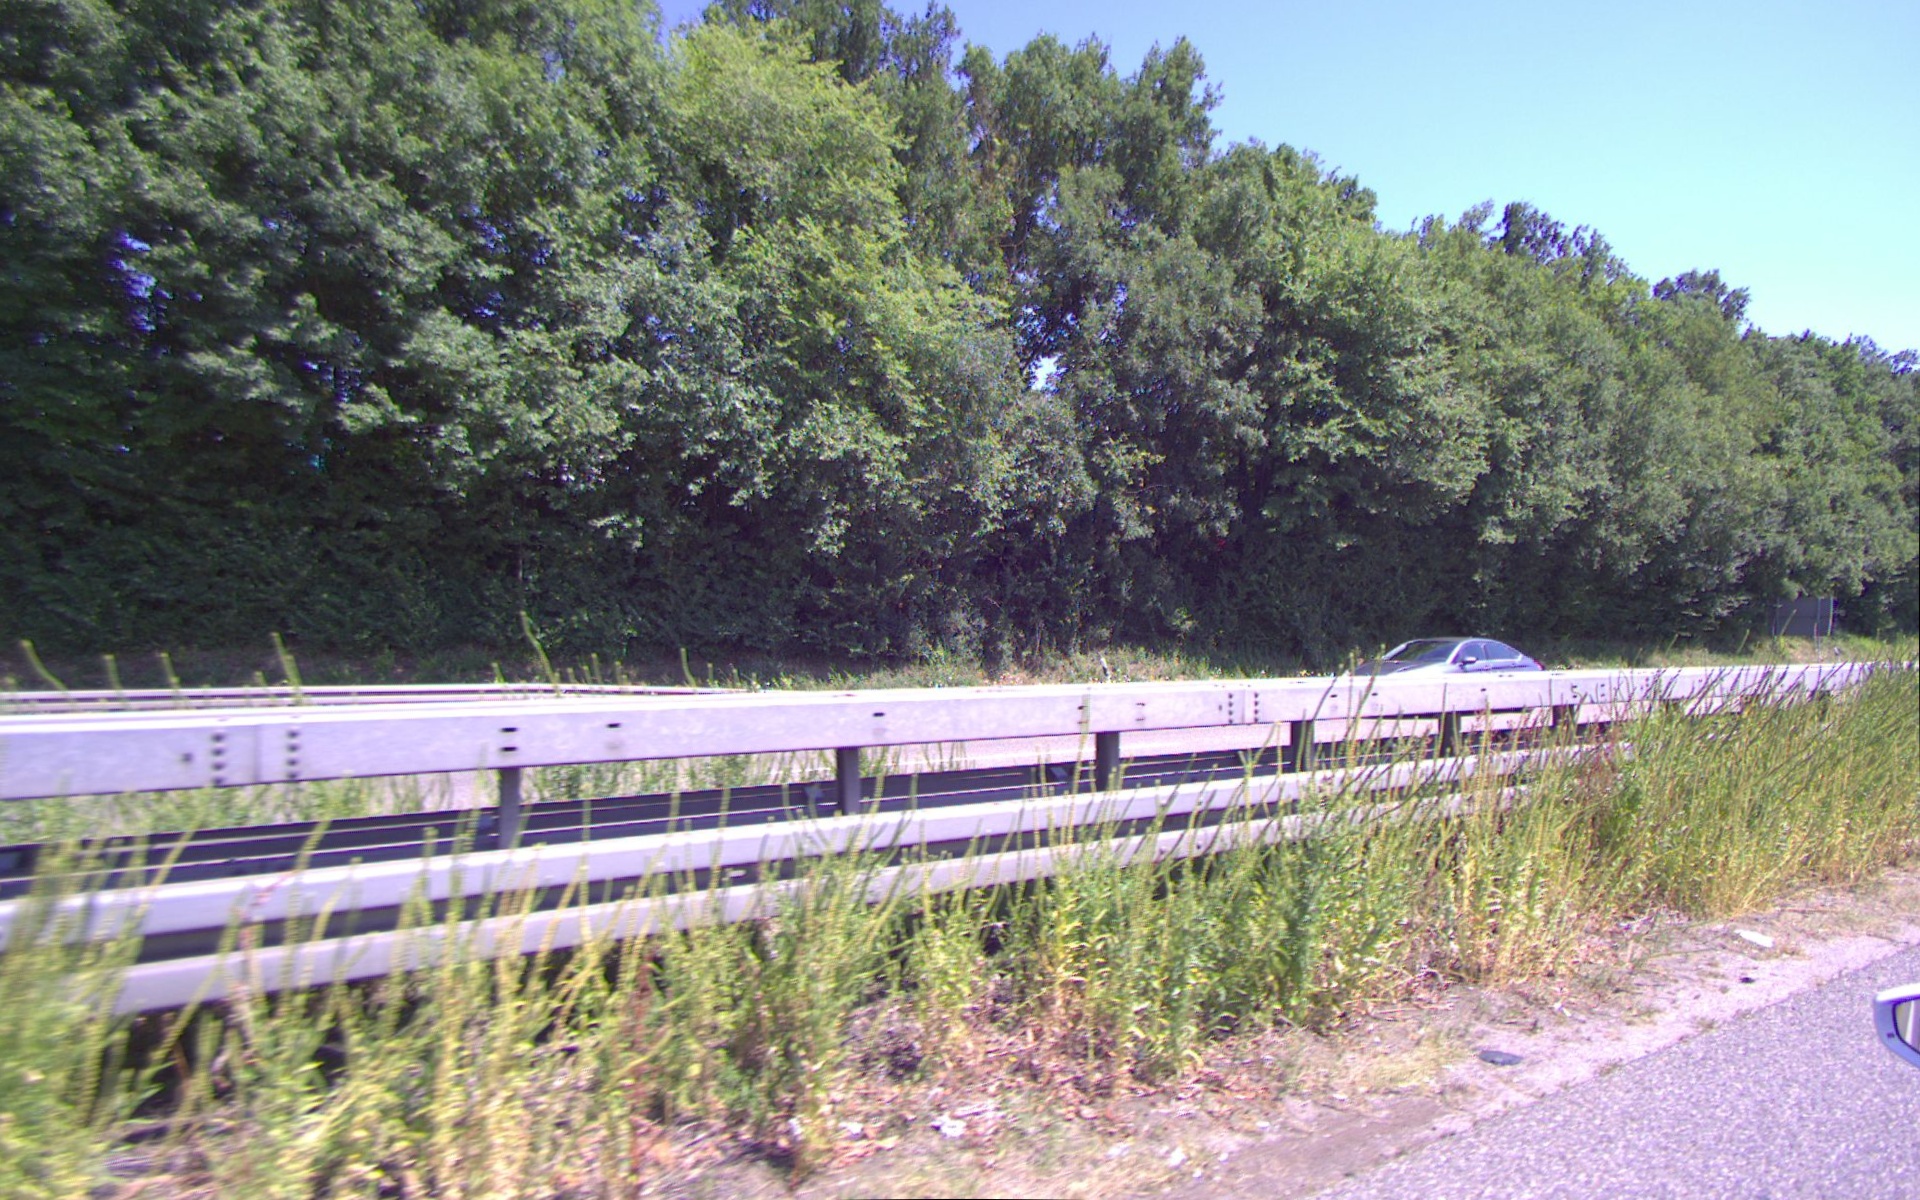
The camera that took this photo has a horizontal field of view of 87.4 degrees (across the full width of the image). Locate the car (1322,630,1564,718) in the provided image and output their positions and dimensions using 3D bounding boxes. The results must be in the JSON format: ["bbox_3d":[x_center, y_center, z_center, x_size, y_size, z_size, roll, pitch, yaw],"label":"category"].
[{"bbox_3d":[9.460,1.366,19.598,4.666,1.539,1.984,1,-3,-30],"label":"car"}]
